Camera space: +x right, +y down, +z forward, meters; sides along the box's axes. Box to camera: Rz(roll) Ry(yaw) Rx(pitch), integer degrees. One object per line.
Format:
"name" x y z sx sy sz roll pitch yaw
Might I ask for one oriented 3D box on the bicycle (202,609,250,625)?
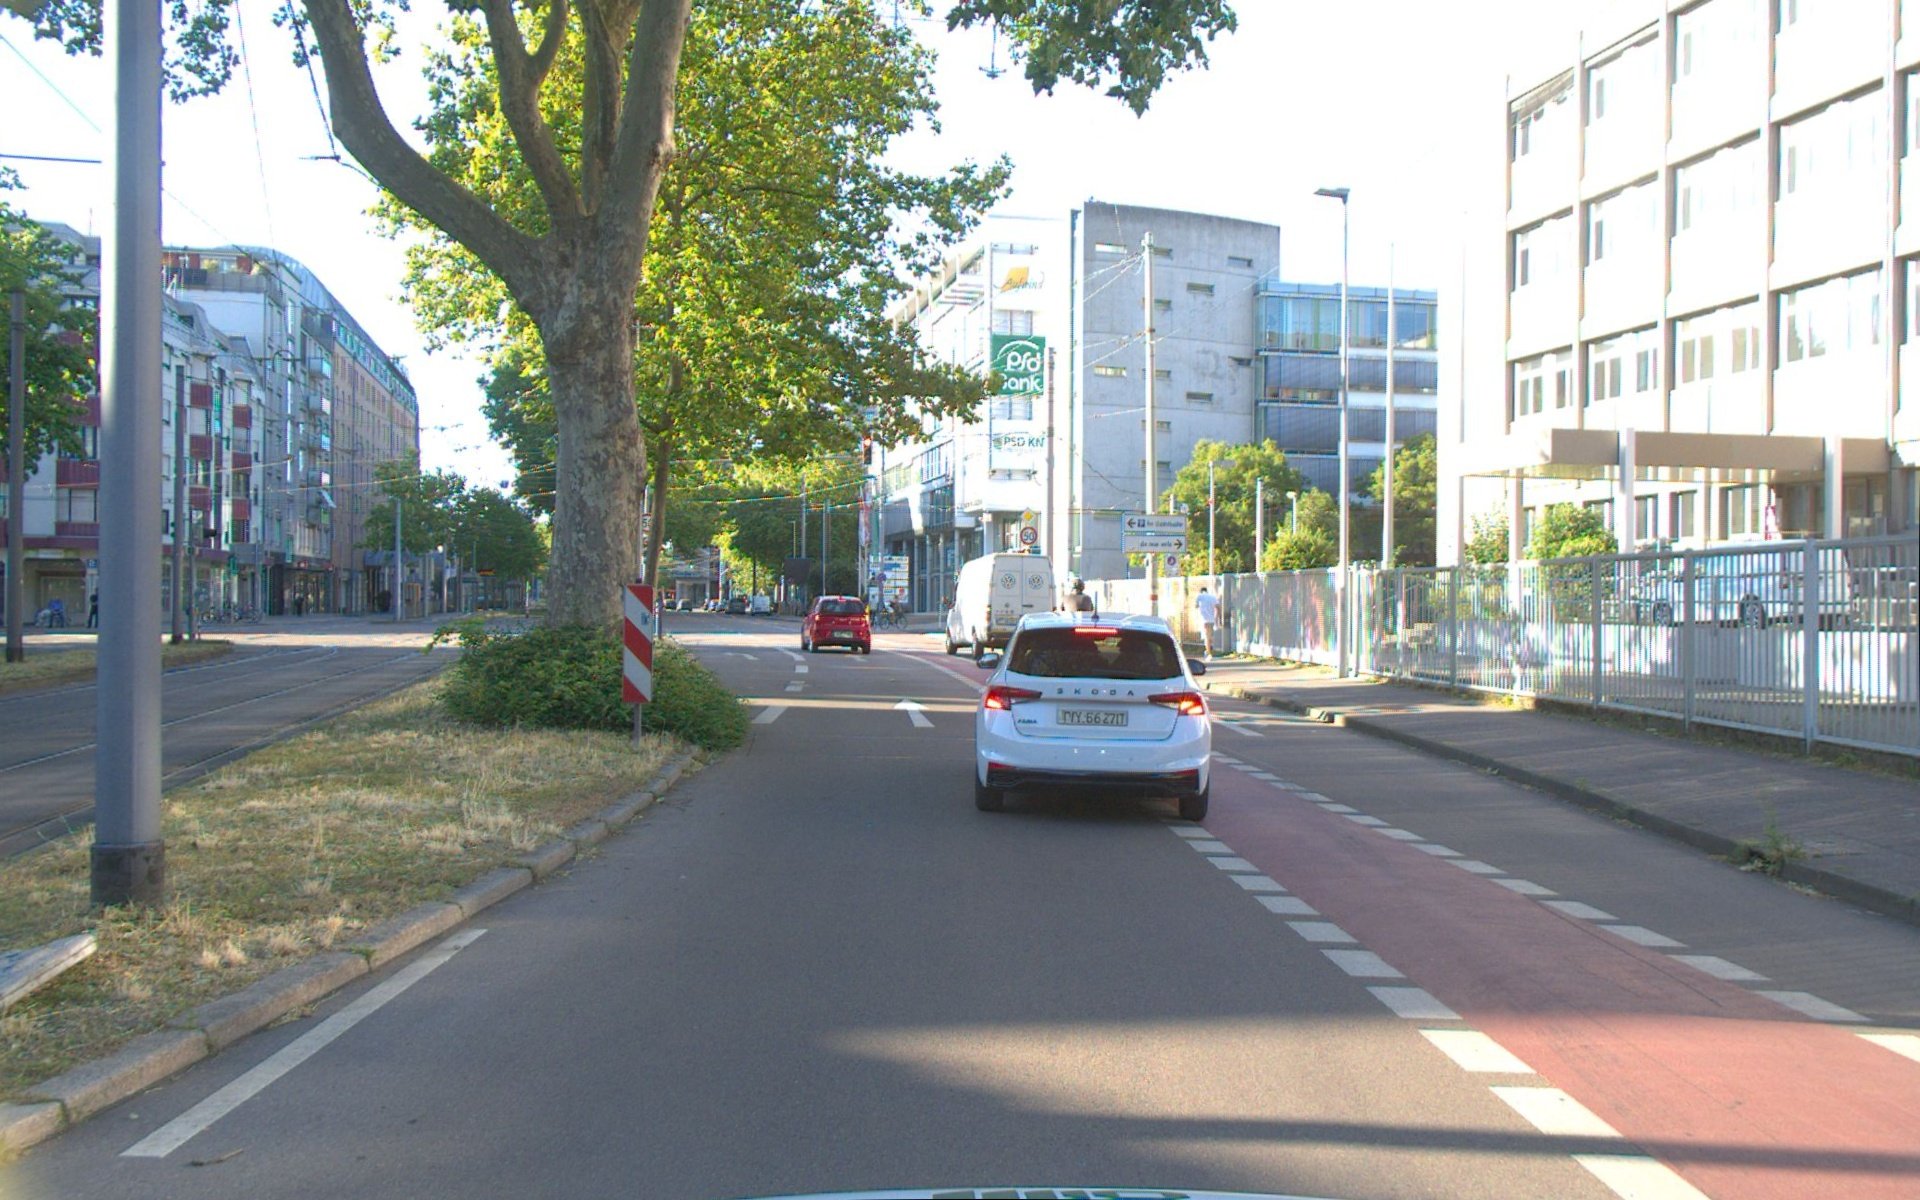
"bicycle" -37.233 0.854 83.958 2.133 0.801 0.638 0 0 -15

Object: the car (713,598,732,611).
"car" -29.052 0.566 202.385 1.853 1.555 4.415 -1 0 -14

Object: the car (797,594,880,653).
"car" -3.326 0.593 44.678 1.807 1.515 3.706 0 0 -11

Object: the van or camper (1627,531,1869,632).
"van or camper" 16.379 -0.379 34.714 1.946 1.942 4.984 -1 0 -12

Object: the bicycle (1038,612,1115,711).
"bicycle" 1.586 0.817 22.836 0.729 1.245 2.154 2 0 -4

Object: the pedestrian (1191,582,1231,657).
"pedestrian" 6.005 0.455 39.589 0.771 1.779 0.771 0 0 -7

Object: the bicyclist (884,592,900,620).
"bicyclist" -3.469 0.292 84.225 0.600 1.413 0.628 0 0 -35

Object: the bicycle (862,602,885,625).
"bicycle" -4.703 0.731 89.806 0.779 1.182 2.491 0 0 -13

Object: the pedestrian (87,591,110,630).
"pedestrian" -37.752 0.461 72.486 0.697 1.691 1.029 -1 0 -16

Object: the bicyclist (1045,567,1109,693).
"bicyclist" 1.606 0.406 22.811 0.728 1.698 0.744 2 0 -5

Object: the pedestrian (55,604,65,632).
"pedestrian" -39.995 0.785 73.502 0.298 1.235 0.317 -1 0 -17

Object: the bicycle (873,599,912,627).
"bicycle" -3.412 0.636 84.246 1.971 1.403 0.639 0 0 -36

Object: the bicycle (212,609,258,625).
"bicycle" -37.138 0.859 84.755 2.133 0.801 0.490 0 0 -15

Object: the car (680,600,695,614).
"car" -34.143 0.880 207.020 1.629 1.635 3.520 -1 0 -12

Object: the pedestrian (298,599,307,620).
"pedestrian" -46.219 0.643 116.259 0.501 1.484 0.526 0 0 -13

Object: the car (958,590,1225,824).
"car" 1.118 0.718 13.077 1.763 1.527 3.984 1 0 7

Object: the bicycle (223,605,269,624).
"bicycle" -37.443 0.749 86.730 2.133 0.967 0.490 0 0 -15

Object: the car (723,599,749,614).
"car" -24.754 0.722 182.909 2.436 1.555 4.417 -1 0 -13

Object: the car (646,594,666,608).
"car" -37.830 0.158 205.778 2.024 1.682 3.476 -1 0 -16

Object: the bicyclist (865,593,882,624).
"bicyclist" -4.695 0.475 89.767 0.772 1.663 0.637 0 0 -14

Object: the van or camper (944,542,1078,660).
"van or camper" 1.220 0.023 43.615 2.227 2.781 6.332 3 0 -10

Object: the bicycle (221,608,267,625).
"bicycle" -37.272 0.847 86.110 2.133 0.838 0.526 0 0 -15

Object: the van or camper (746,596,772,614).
"van or camper" -20.514 0.455 168.706 2.109 1.781 4.415 -1 0 -14
